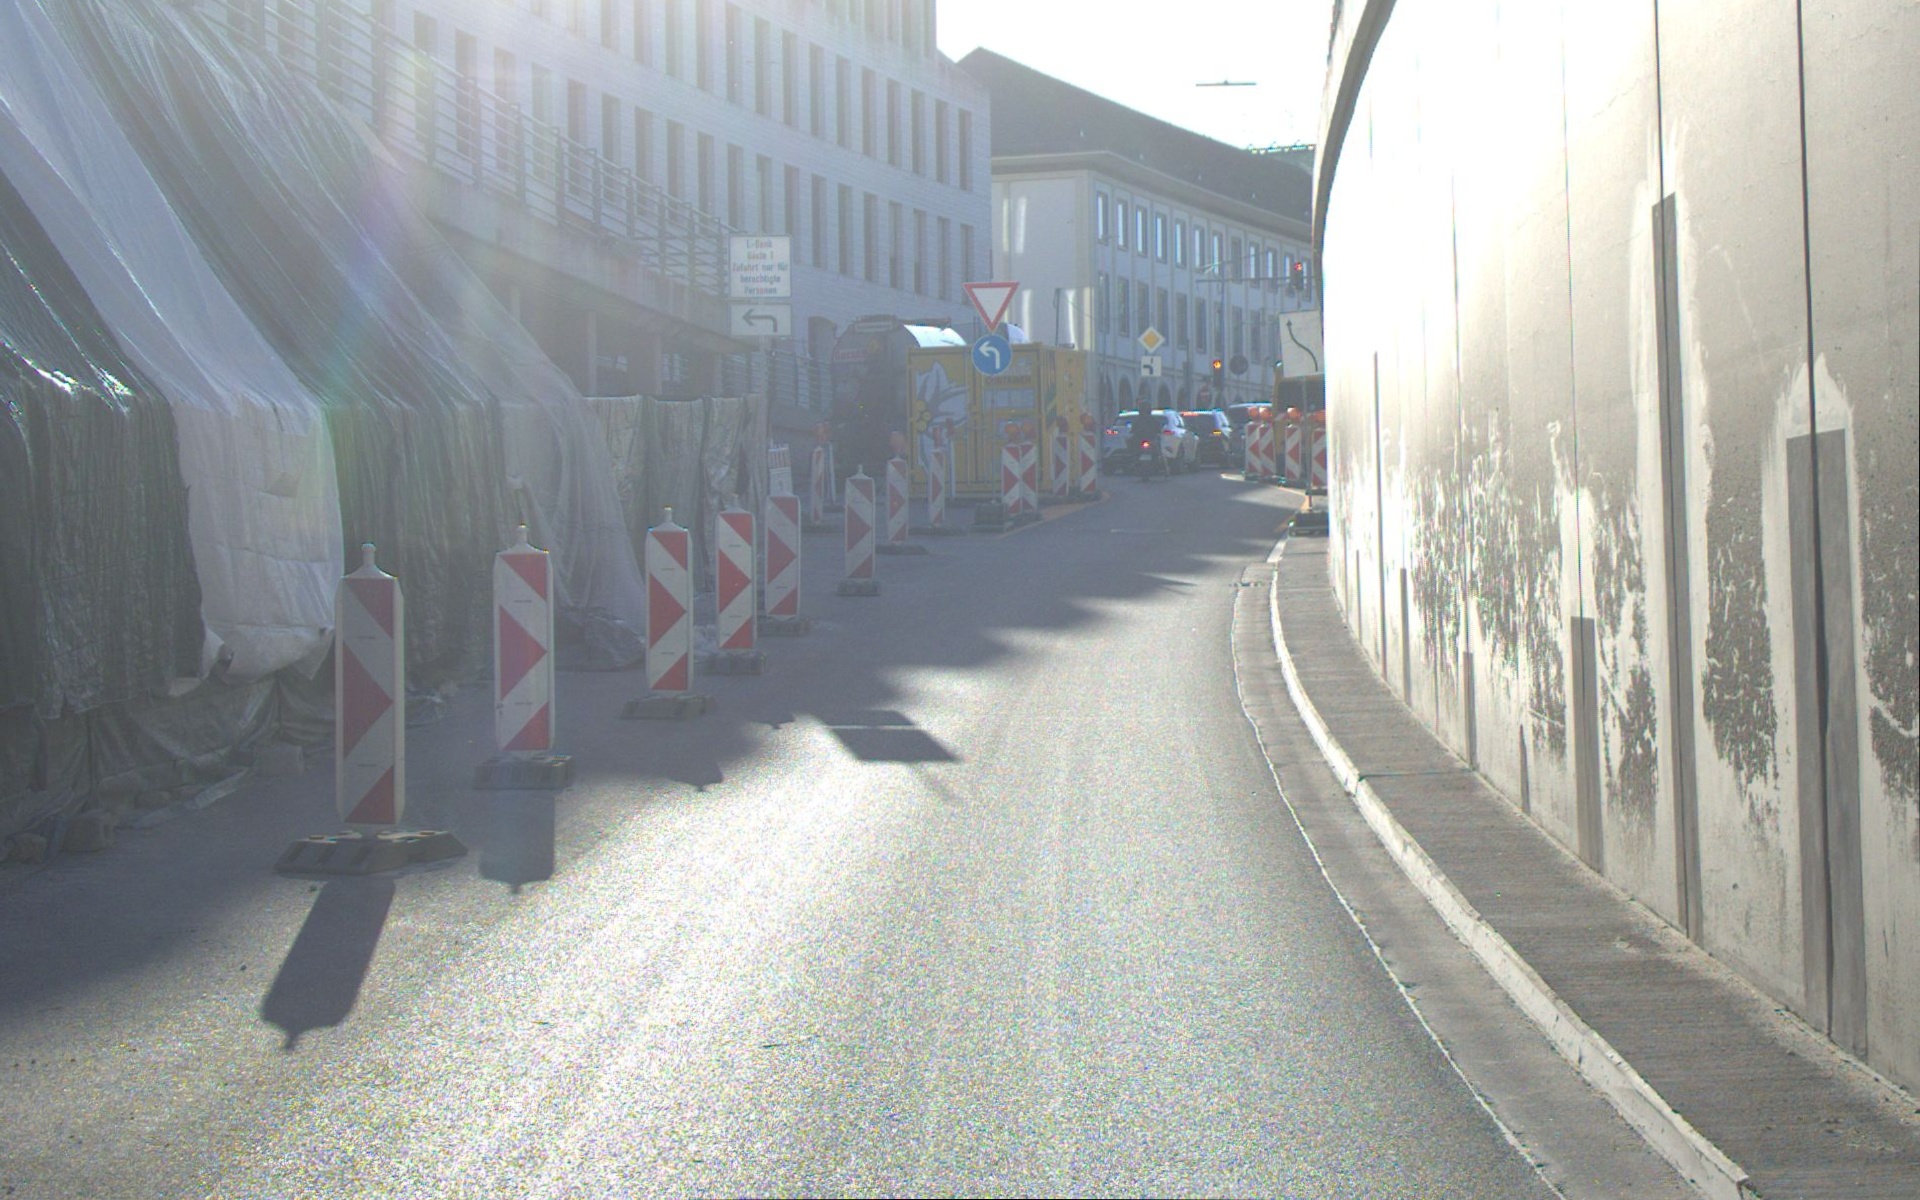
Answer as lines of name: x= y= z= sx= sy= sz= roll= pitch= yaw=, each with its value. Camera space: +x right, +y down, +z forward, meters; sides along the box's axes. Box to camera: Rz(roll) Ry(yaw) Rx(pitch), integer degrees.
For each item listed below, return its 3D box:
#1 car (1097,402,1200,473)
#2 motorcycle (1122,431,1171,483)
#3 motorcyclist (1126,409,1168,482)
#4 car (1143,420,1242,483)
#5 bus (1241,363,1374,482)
car: x=4.398 y=-3.745 z=79.573 sx=1.777 sy=1.598 sz=3.998 roll=1 pitch=2 yaw=12
motorcycle: x=3.950 y=-3.031 z=72.850 sx=0.771 sy=0.989 sz=2.182 roll=0 pitch=0 yaw=10
motorcyclist: x=3.957 y=-3.275 z=72.822 sx=0.804 sy=1.499 sz=0.776 roll=0 pitch=-1 yaw=10
car: x=5.828 y=-3.710 z=85.820 sx=1.822 sy=1.528 sz=3.998 roll=1 pitch=2 yaw=13
bus: x=7.719 y=-3.925 z=76.101 sx=2.226 sy=2.548 sz=4.424 roll=1 pitch=3 yaw=15
